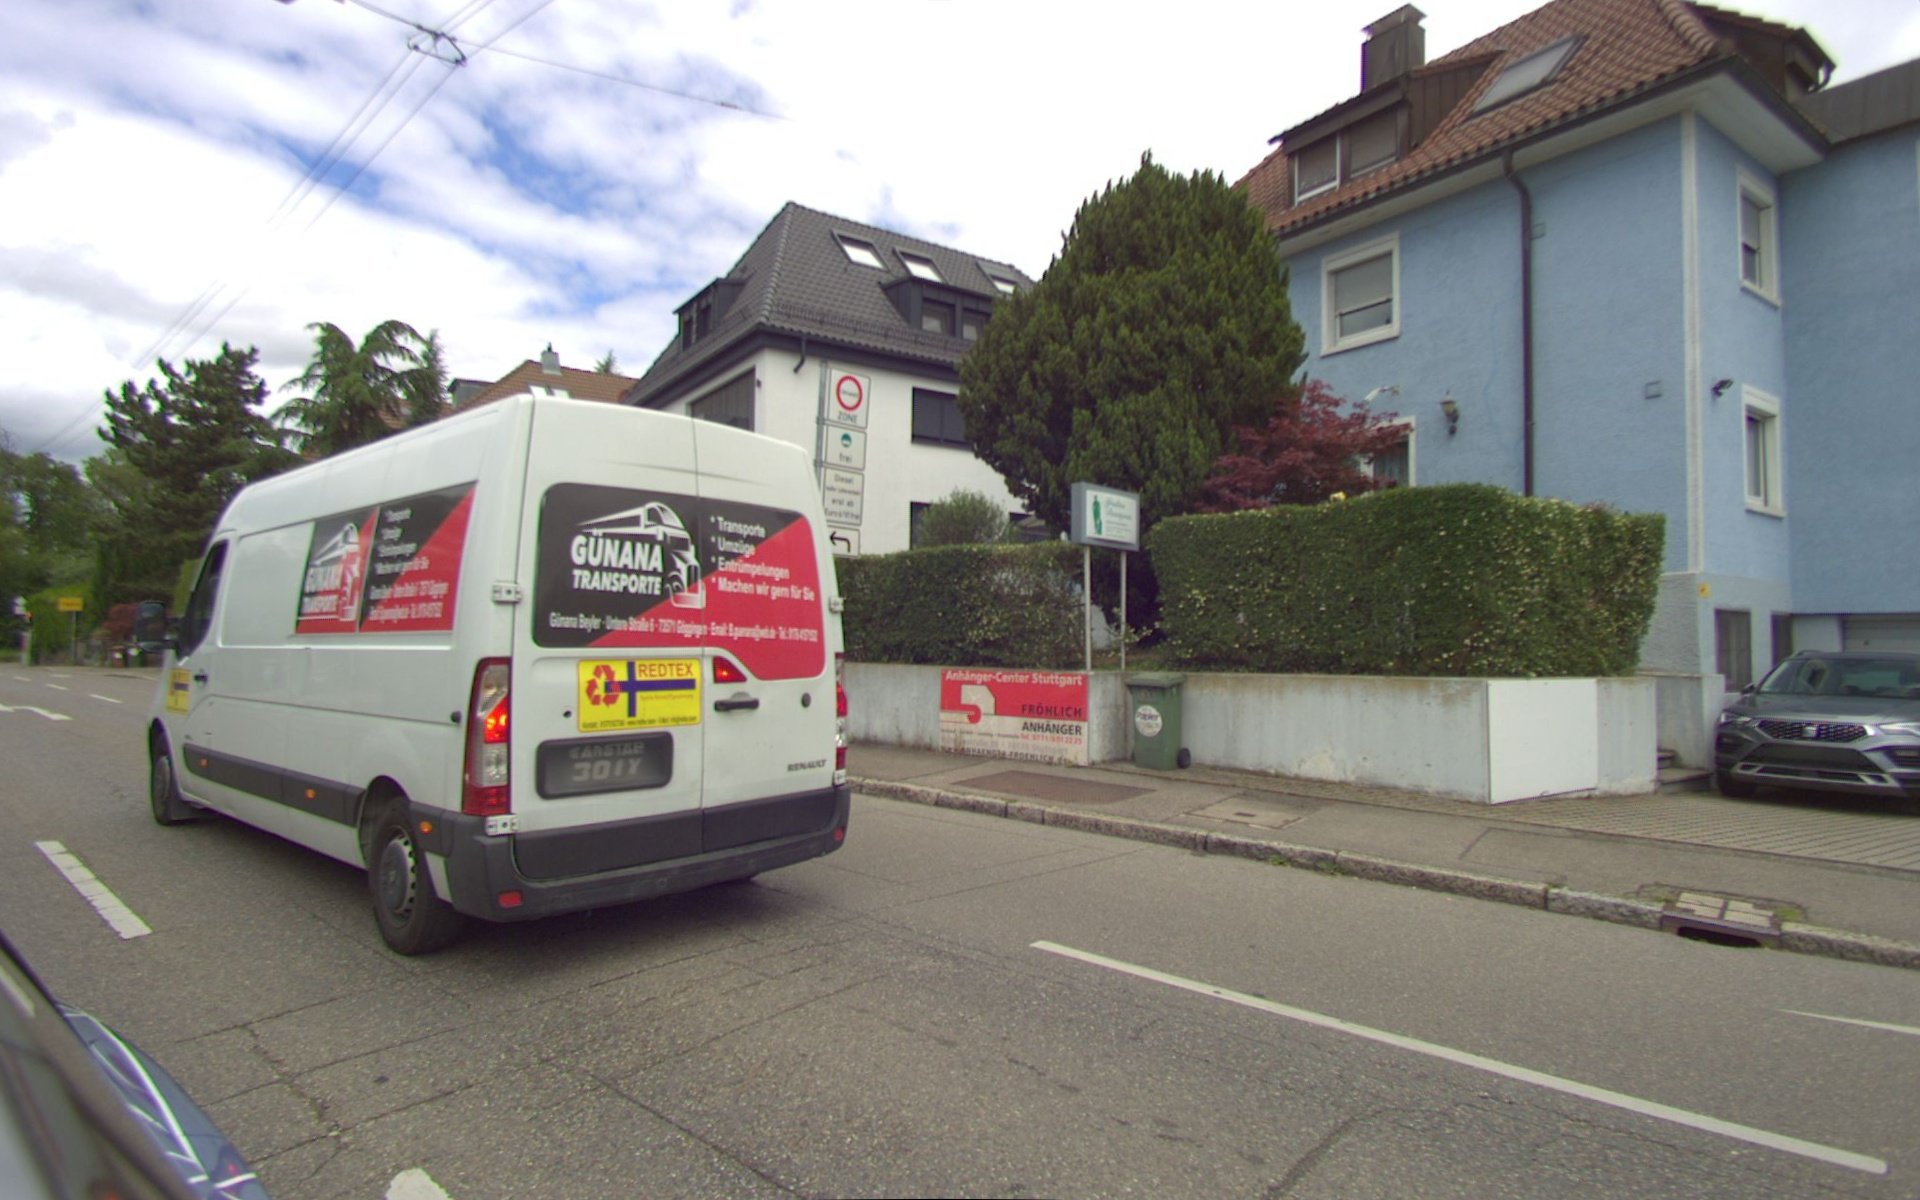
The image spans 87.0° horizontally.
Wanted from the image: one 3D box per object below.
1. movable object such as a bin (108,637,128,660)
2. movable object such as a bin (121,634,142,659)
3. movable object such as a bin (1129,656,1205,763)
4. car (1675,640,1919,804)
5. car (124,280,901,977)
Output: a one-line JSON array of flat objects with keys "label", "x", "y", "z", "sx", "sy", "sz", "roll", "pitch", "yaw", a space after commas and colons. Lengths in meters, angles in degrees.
[{"label": "movable object such as a bin", "x": -36.203, "y": 2.074, "z": 43.509, "sx": 0.457, "sy": 0.949, "sz": 0.649, "roll": 0, "pitch": -2, "yaw": -21}, {"label": "movable object such as a bin", "x": -35.734, "y": 2.006, "z": 43.664, "sx": 0.472, "sy": 1.042, "sz": 0.718, "roll": 0, "pitch": -2, "yaw": -21}, {"label": "movable object such as a bin", "x": 2.006, "y": 1.041, "z": 9.812, "sx": 0.540, "sy": 0.981, "sz": 0.502, "roll": -1, "pitch": -3, "yaw": 44}, {"label": "car", "x": 9.413, "y": 1.130, "z": 10.599, "sx": 3.934, "sy": 1.401, "sz": 2.005, "roll": 2, "pitch": -2, "yaw": -36}, {"label": "car", "x": -3.303, "y": 0.168, "z": 6.463, "sx": 6.121, "sy": 2.517, "sz": 2.089, "roll": -1, "pitch": -3, "yaw": 41}]
